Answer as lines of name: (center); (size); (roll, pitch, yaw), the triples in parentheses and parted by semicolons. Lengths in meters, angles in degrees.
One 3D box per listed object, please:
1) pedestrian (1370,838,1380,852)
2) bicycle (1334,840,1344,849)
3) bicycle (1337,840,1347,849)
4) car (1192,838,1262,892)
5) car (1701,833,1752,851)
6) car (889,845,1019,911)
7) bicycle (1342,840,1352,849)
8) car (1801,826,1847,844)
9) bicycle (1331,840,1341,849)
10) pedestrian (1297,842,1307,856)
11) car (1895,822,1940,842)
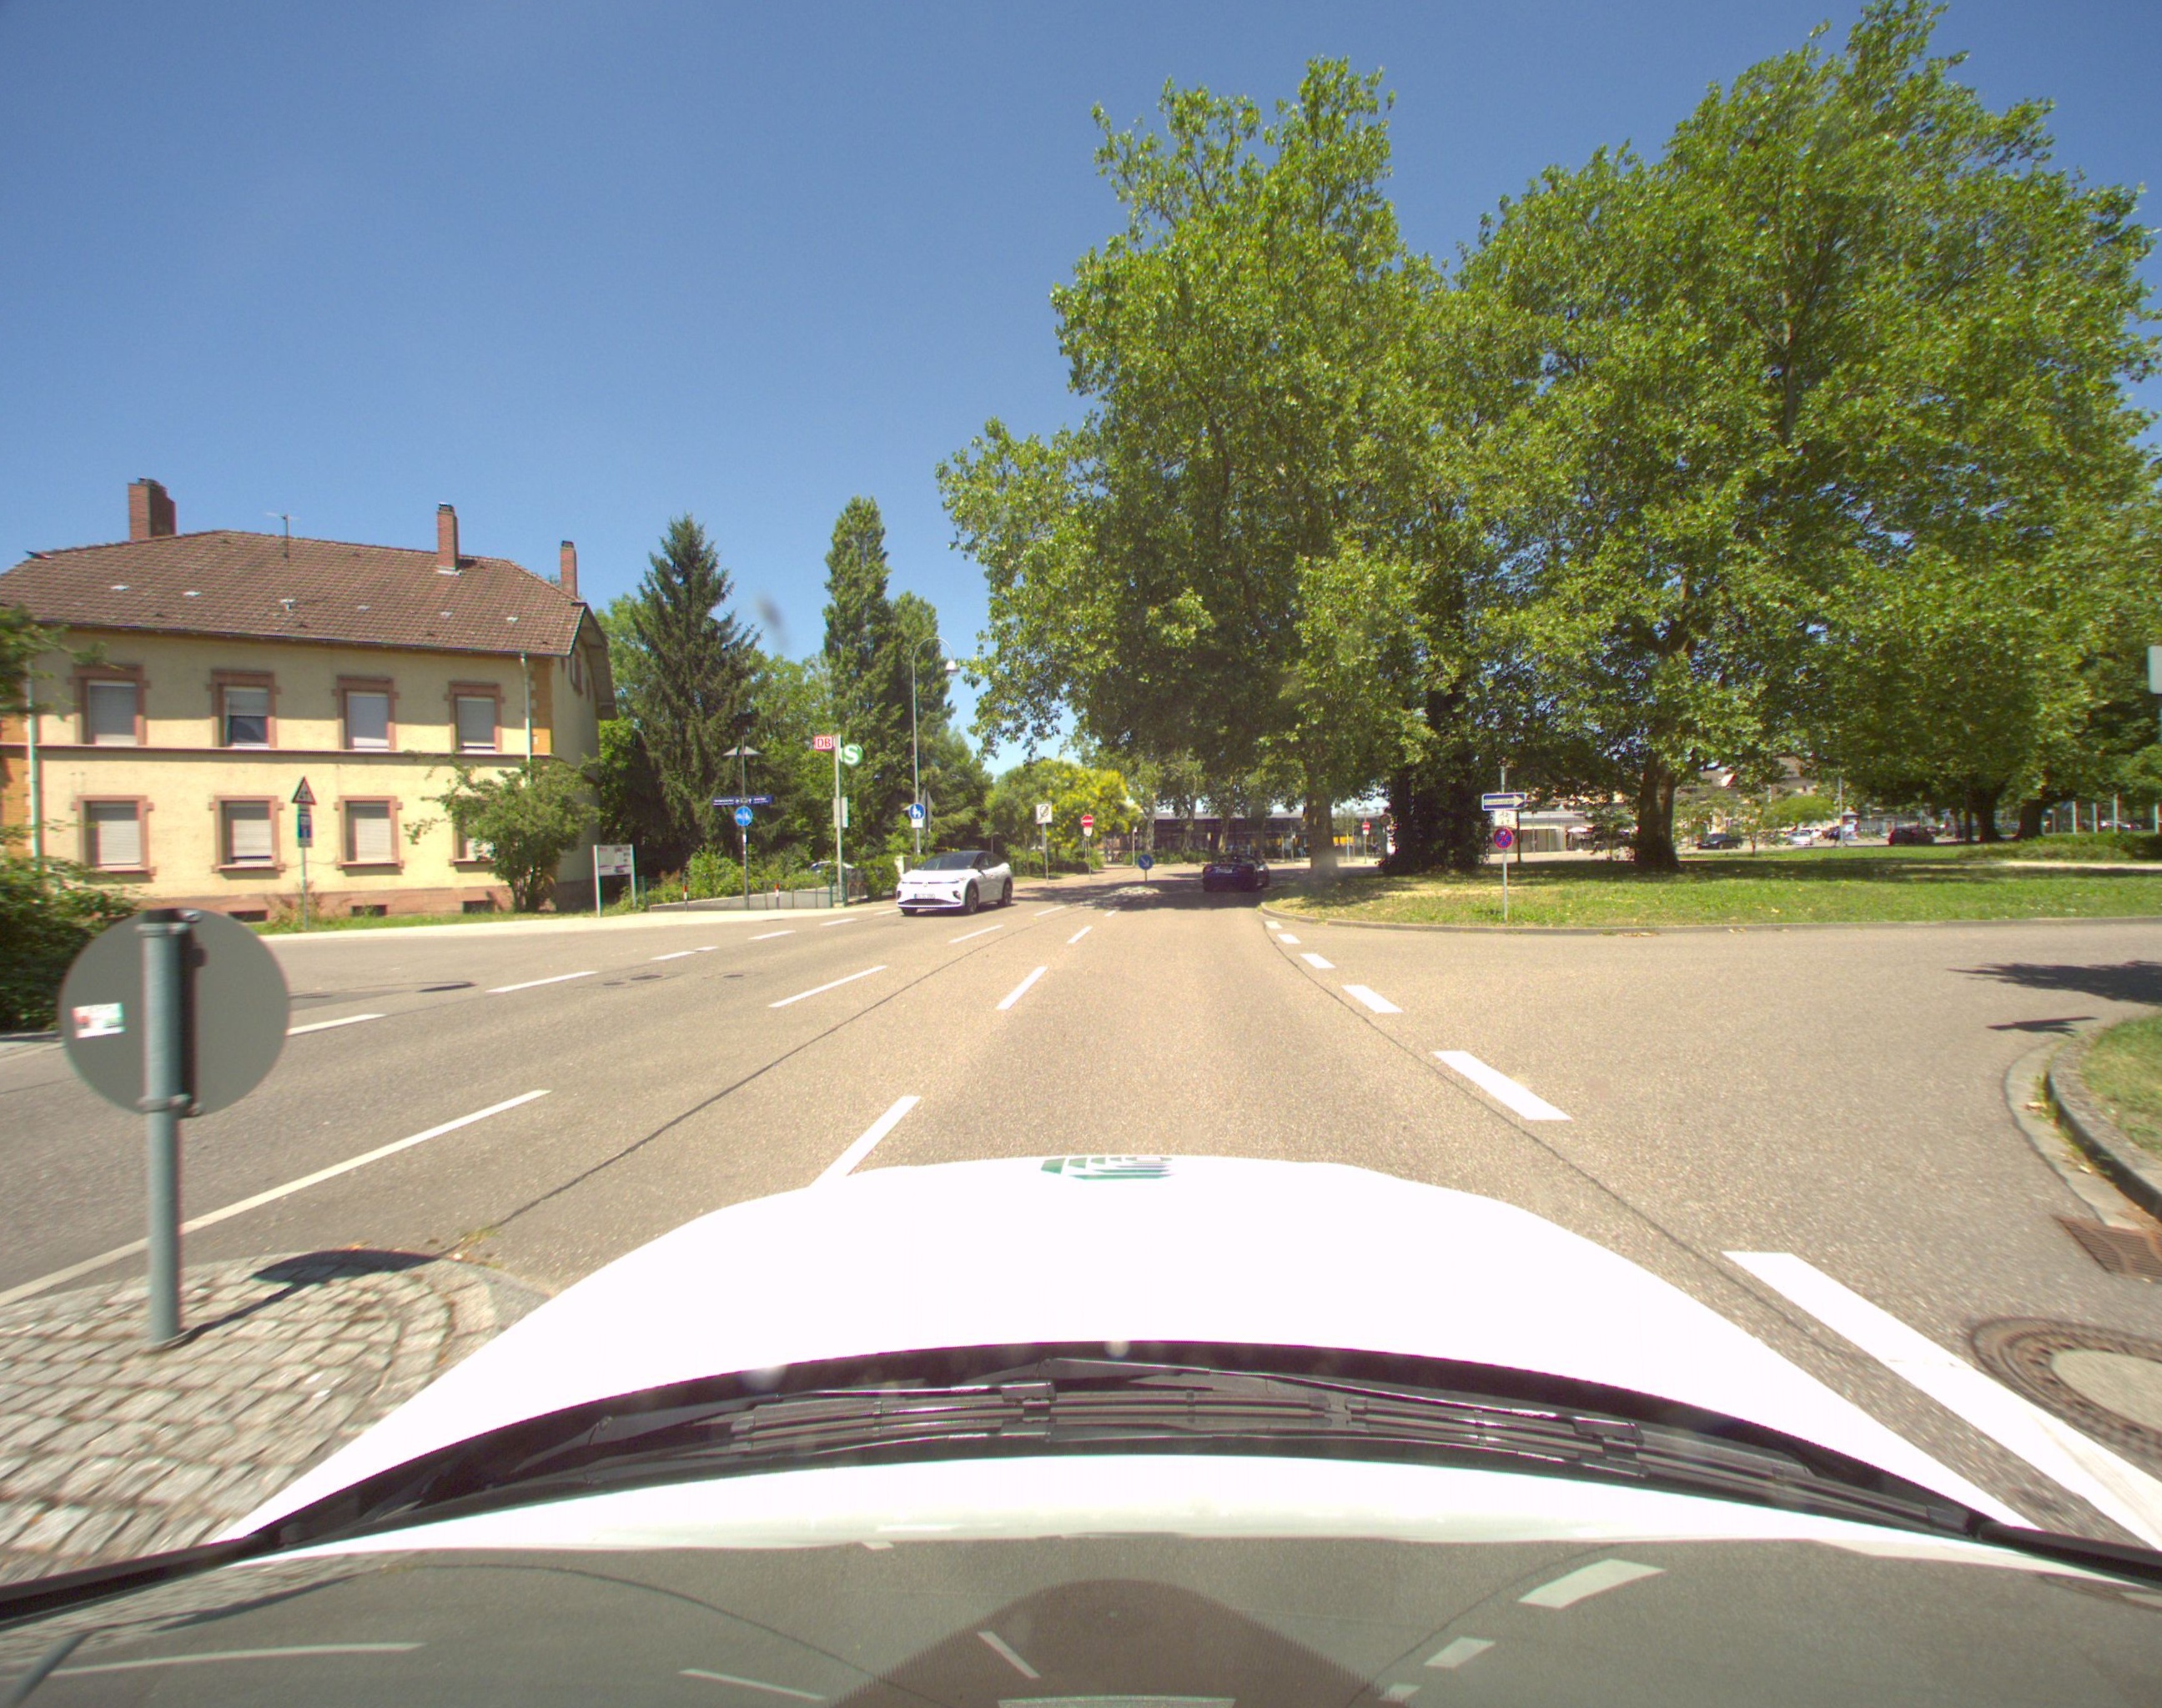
pedestrian: (33.498, -1.010, 92.660); (0.773, 1.617, 0.812); (0, -1, -43)
bicycle: (32.341, -1.181, 102.255); (0.386, 1.094, 1.375); (0, -1, -22)
bicycle: (32.195, -1.198, 100.398); (0.386, 1.094, 1.375); (0, -1, -22)
car: (5.509, 0.346, 30.275); (2.109, 1.848, 4.066); (-1, 1, 16)
car: (58.754, -1.135, 74.149); (4.794, 1.478, 1.710); (-2, 0, -26)
car: (-3.250, 0.572, 21.872); (1.831, 1.530, 4.356); (-1, 1, 15)
bicycle: (32.963, -1.198, 100.837); (0.386, 1.094, 1.375); (0, -1, -22)
car: (73.394, -1.894, 80.425); (4.164, 1.444, 1.806); (-3, -3, -24)
bicycle: (31.917, -1.181, 102.023); (0.386, 1.094, 1.375); (0, -1, -22)
pedestrian: (24.065, -0.572, 88.687); (0.824, 1.463, 0.602); (-2, 0, -27)
car: (65.985, -1.710, 64.233); (3.719, 1.478, 1.707); (-2, 0, -32)
